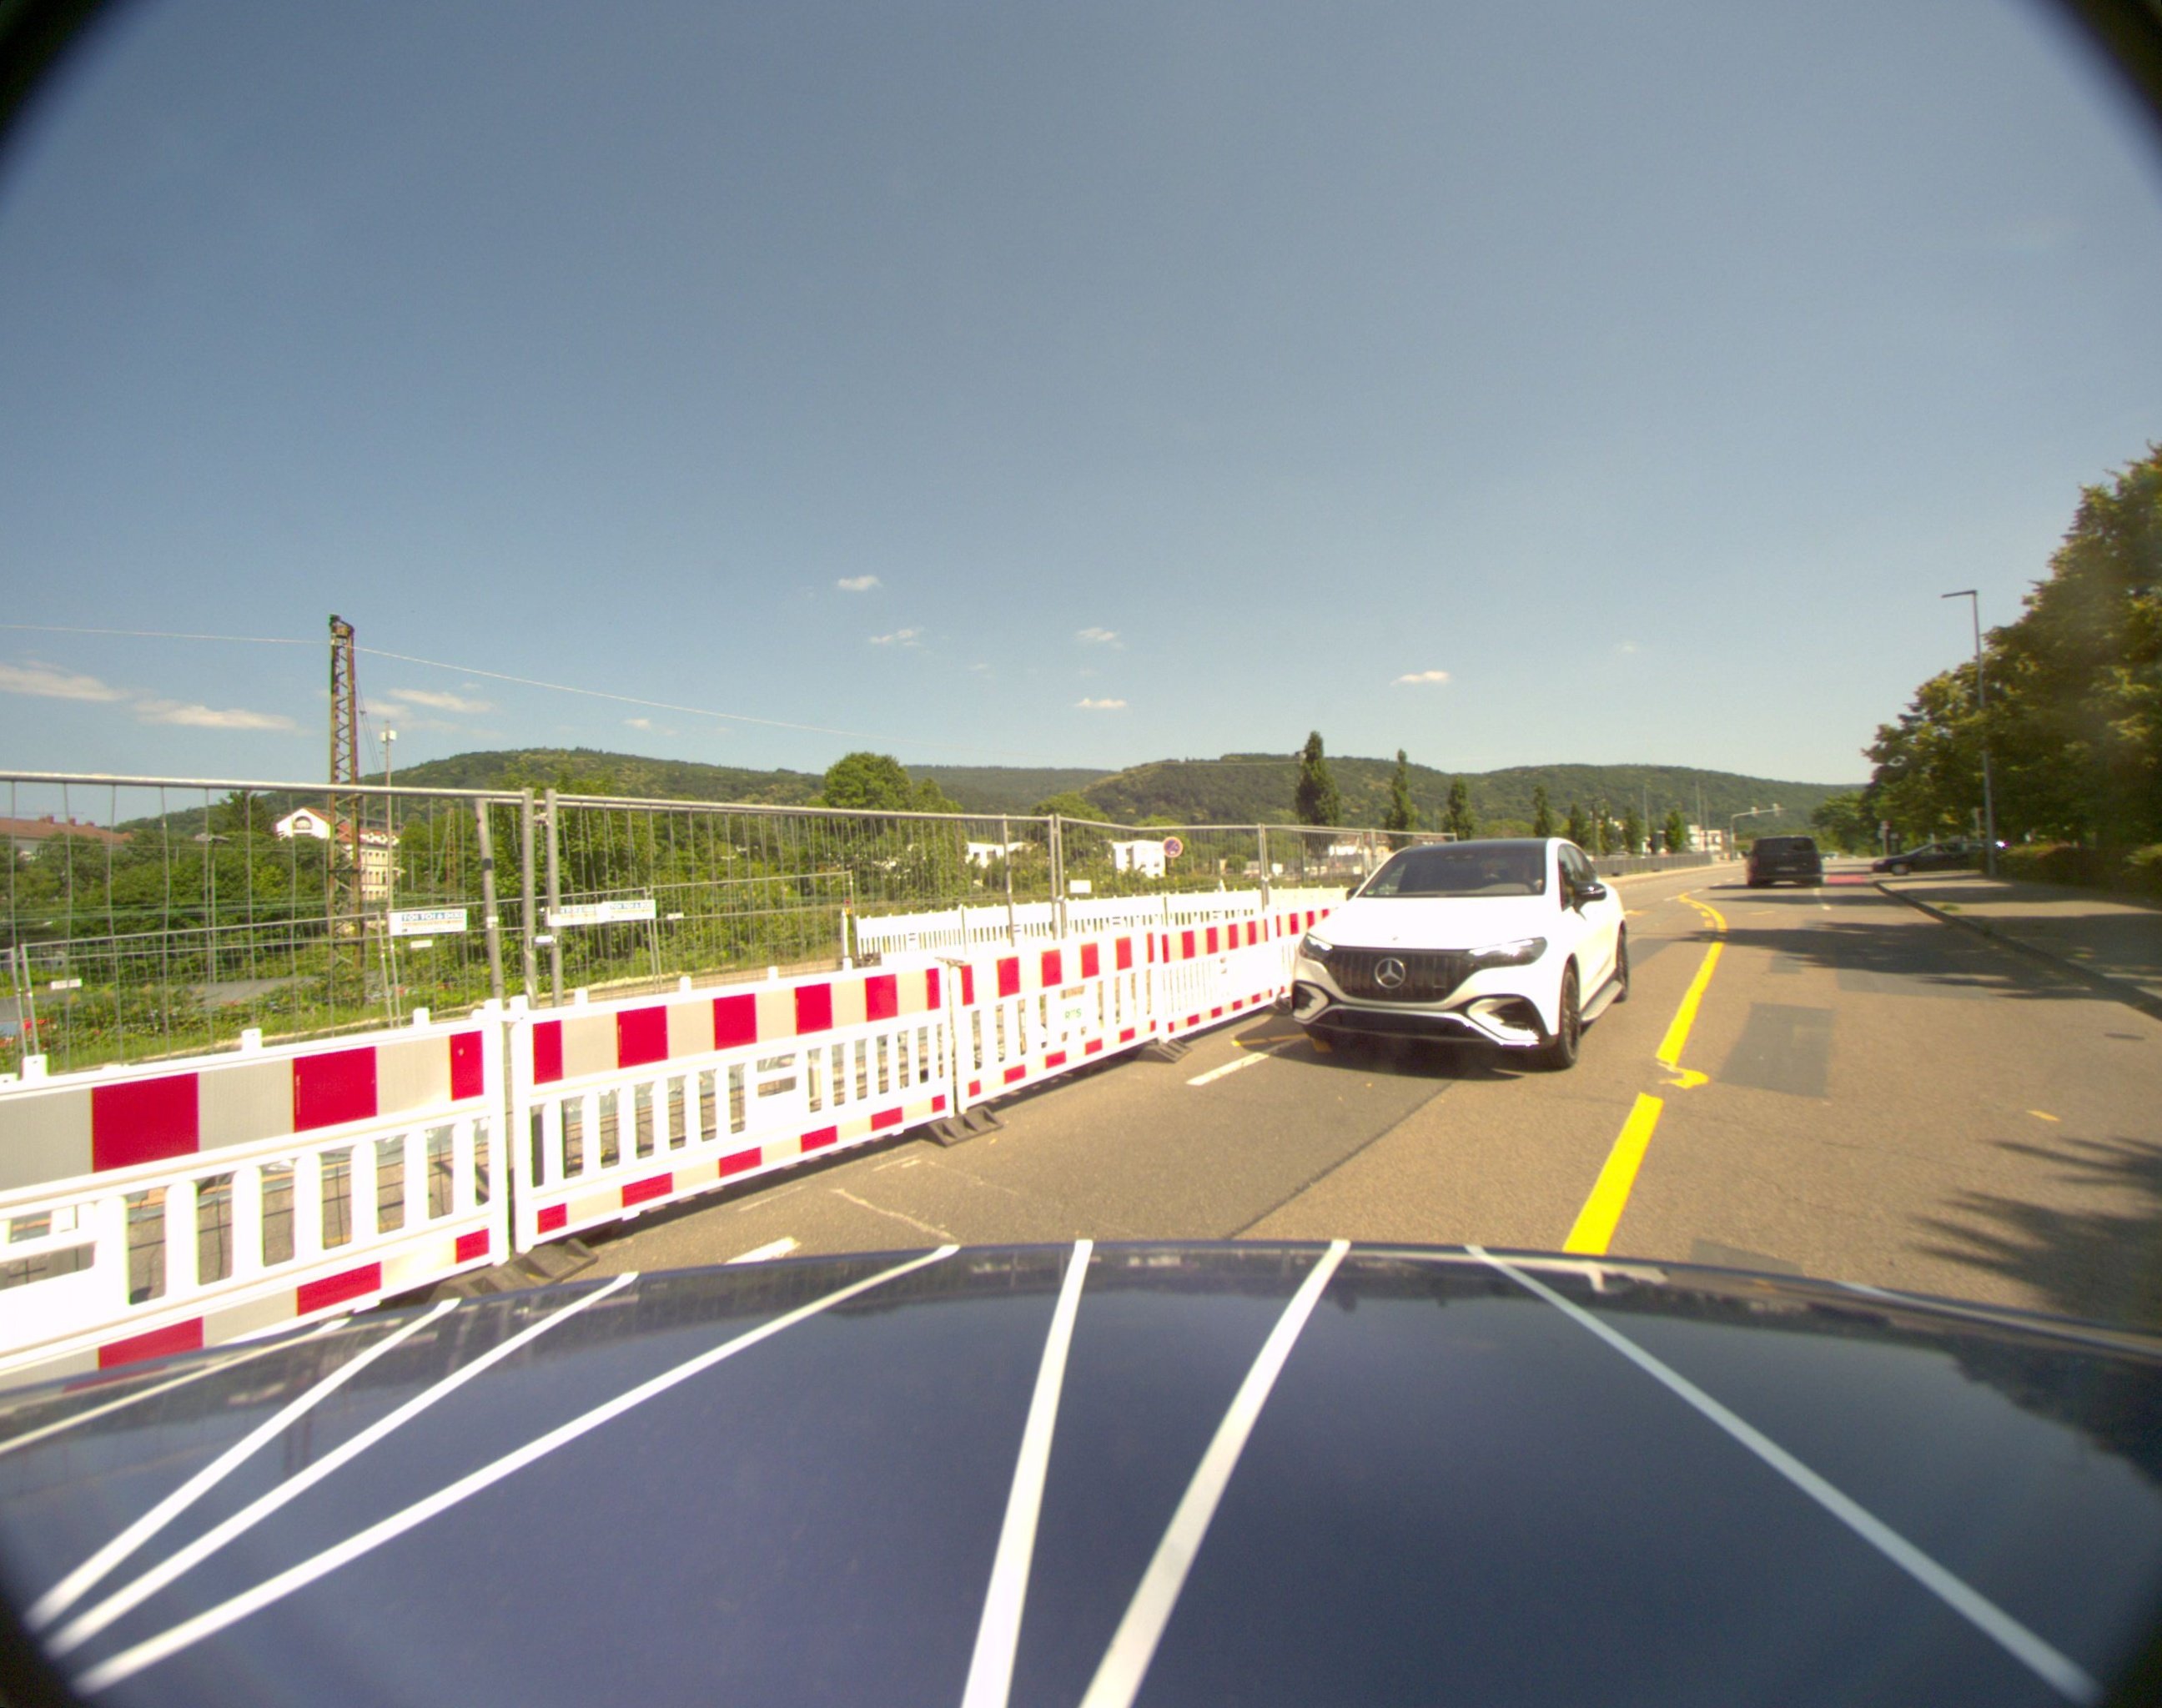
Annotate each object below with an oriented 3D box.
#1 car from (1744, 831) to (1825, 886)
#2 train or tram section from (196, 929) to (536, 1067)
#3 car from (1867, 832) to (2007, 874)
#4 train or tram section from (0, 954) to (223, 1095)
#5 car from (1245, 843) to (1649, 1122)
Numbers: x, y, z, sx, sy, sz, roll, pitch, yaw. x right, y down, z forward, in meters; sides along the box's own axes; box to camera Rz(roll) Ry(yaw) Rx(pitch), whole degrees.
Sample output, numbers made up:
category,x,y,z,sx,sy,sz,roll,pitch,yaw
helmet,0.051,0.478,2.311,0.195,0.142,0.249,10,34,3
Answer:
category,x,y,z,sx,sy,sz,roll,pitch,yaw
car,27.508,0.104,29.716,2.177,1.956,5.455,0,1,43
train or tram section,-26.505,5.134,28.997,8.988,3.678,3.018,-3,-3,-39
car,38.079,-0.025,33.949,1.884,1.454,3.991,-2,-4,-43
train or tram section,-33.491,5.456,23.342,8.988,3.690,3.018,-3,-3,-39
car,3.708,0.782,7.034,1.995,1.634,5.042,-4,-2,41
